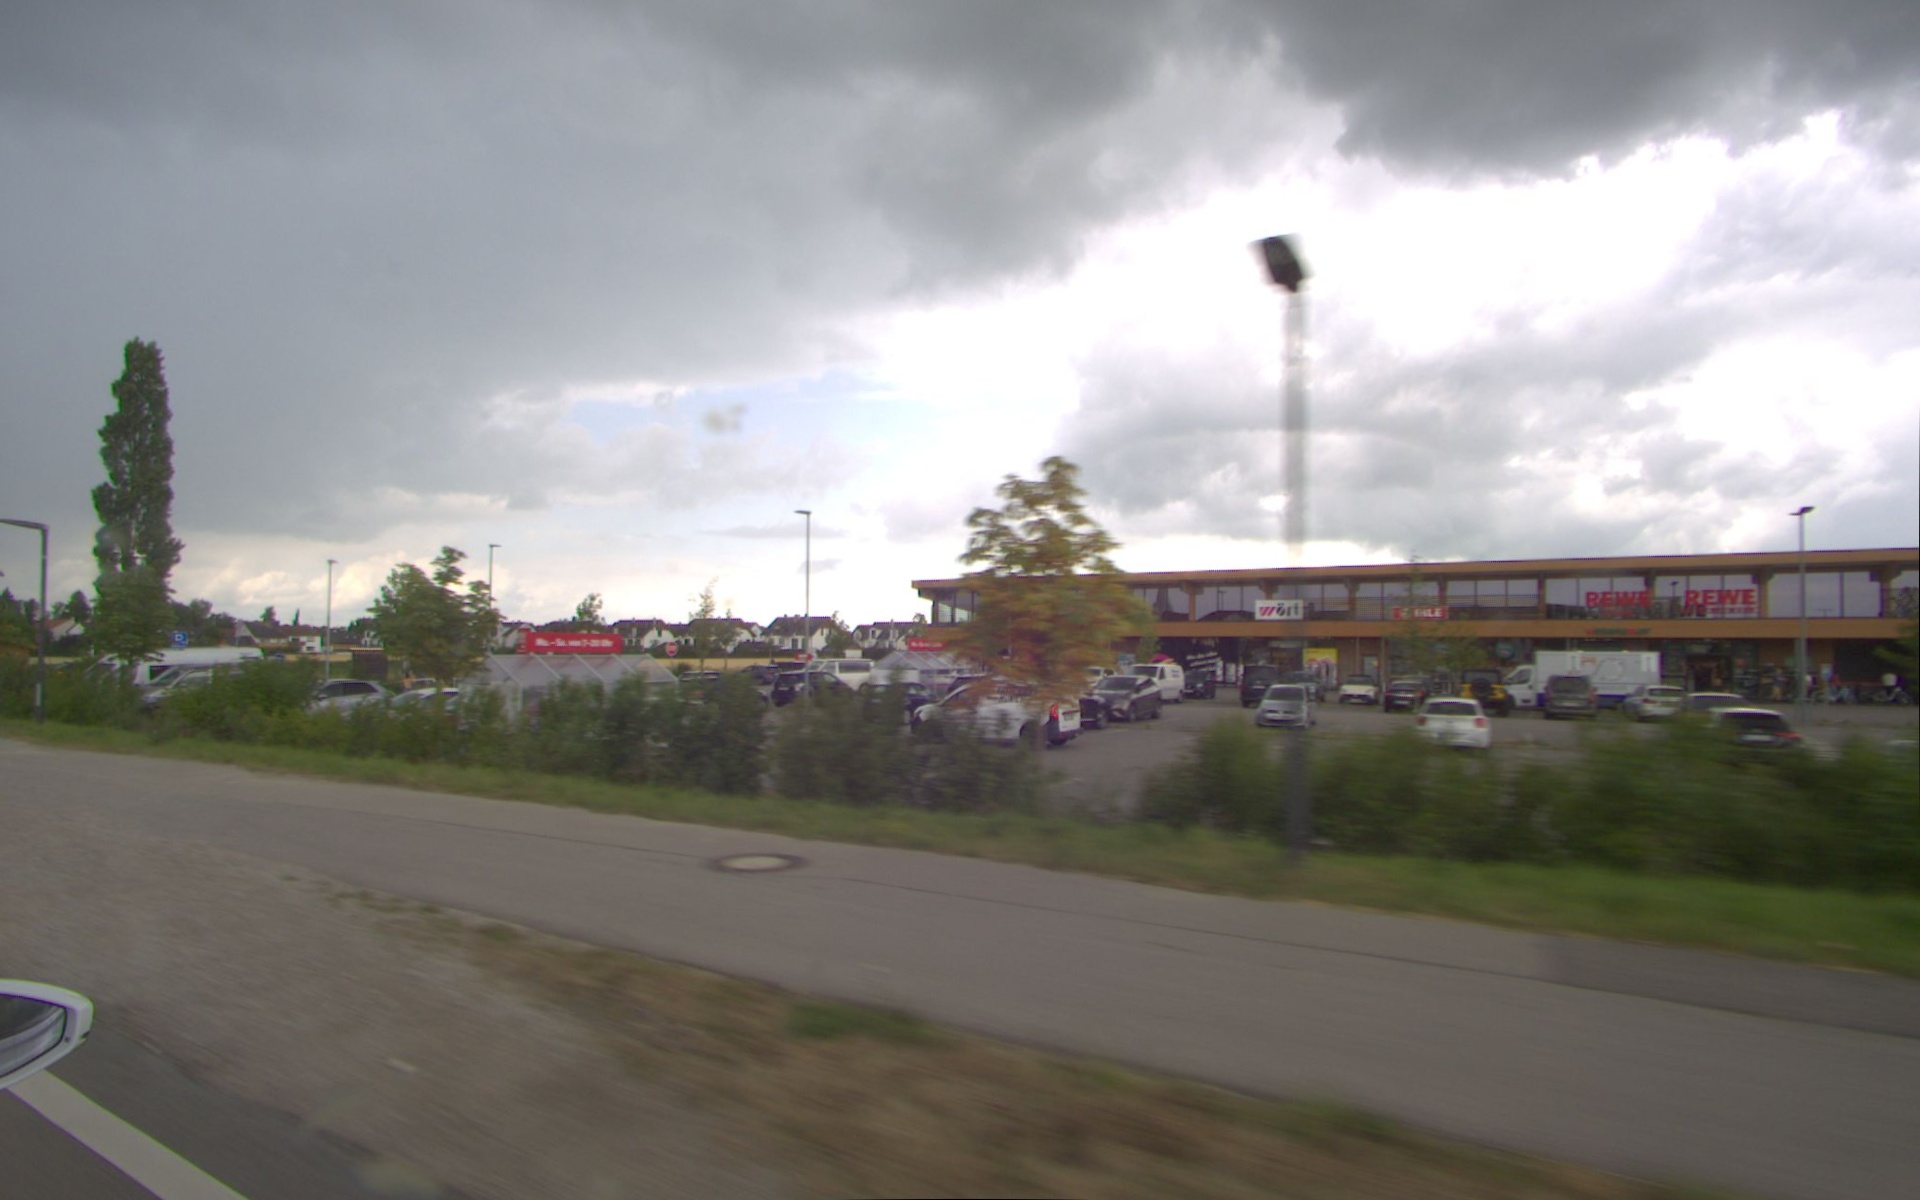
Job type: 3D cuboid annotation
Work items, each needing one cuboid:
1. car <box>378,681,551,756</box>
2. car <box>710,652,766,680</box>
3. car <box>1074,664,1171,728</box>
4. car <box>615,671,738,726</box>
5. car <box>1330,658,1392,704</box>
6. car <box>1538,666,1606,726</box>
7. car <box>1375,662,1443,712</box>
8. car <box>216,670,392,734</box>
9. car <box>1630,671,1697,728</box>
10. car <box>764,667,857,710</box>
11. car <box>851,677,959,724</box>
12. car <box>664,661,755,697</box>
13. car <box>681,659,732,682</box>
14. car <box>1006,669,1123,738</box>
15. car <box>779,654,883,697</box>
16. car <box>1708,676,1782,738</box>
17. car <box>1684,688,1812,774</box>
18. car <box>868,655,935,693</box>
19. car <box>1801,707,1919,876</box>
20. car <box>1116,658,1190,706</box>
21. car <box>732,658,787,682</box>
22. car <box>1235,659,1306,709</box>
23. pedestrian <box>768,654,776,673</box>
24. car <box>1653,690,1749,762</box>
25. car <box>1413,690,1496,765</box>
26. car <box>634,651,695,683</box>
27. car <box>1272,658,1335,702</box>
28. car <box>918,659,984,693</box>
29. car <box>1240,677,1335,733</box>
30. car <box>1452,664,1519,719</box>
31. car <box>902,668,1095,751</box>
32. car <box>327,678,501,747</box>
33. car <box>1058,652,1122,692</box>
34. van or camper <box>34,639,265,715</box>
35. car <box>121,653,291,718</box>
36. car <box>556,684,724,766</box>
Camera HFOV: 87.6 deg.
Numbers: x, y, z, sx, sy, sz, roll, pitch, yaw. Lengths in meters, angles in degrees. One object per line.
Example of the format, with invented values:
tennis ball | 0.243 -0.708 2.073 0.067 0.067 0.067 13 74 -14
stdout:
car | -12.788 3.005 26.052 1.651 1.558 3.752 -1 -1 30
car | -17.044 5.017 76.740 3.942 2.040 1.990 -1 -1 32
car | 6.044 3.473 36.993 1.974 2.040 3.975 -1 -1 36
car | -10.299 3.540 36.626 1.974 1.639 3.975 -1 -1 36
car | 20.232 4.039 50.441 1.974 2.040 3.975 -1 -1 36
car | 24.604 3.792 40.221 2.044 2.040 3.975 -1 -1 36
car | 19.705 3.809 43.893 1.974 2.038 3.978 -1 -4 36
car | -20.312 3.096 31.184 2.049 1.618 4.142 -1 -1 30
car | 27.560 3.835 39.208 2.044 1.872 3.975 -1 -1 36
car | -6.676 3.922 45.020 1.974 1.639 3.975 -1 -1 36
car | -1.903 3.527 35.596 1.971 1.460 3.984 -1 -3 31
car | -11.872 3.722 47.706 1.873 1.451 4.173 -1 -1 30
car | -18.667 5.167 73.754 3.527 1.527 1.742 -1 -1 32
car | 3.491 3.329 32.902 1.974 1.895 4.247 -1 -1 36
car | -6.831 3.963 53.219 5.165 2.040 1.987 0 -1 -34
car | 28.979 3.897 37.069 1.974 1.895 4.247 -1 -1 36
car | 17.657 2.876 22.609 1.775 1.726 3.380 -1 -5 30
car | -3.295 4.139 56.836 2.008 1.936 3.888 -1 -1 30
car | 13.003 2.516 13.676 1.633 1.728 3.982 -1 -1 30
car | 9.563 3.951 49.272 1.970 2.040 5.122 -1 -1 30
car | -14.025 4.857 70.098 3.527 1.527 1.742 -1 -1 32
car | 14.478 3.859 46.552 1.974 2.040 3.975 -1 -1 36
pedestrian | -18.060 6.123 96.168 0.591 1.784 0.481 -1 0 31
car | 20.289 3.371 27.503 1.974 1.504 4.106 -1 -1 36
car | 12.934 3.250 26.096 1.727 1.552 3.544 -1 -1 30
car | -20.683 4.674 70.118 3.942 2.040 1.990 -1 -1 32
car | 17.778 4.088 51.764 1.974 2.040 4.097 -1 -1 36
car | -0.465 4.192 55.773 2.009 1.628 3.731 -1 -1 32
car | 11.396 3.565 34.711 1.974 1.572 4.106 -1 -1 36
car | 22.337 3.811 42.474 1.974 2.040 3.975 -1 -1 36
car | 1.029 2.919 27.433 4.867 1.931 2.101 -1 -1 29
car | -15.461 3.139 28.578 1.651 1.558 4.142 -1 -1 30
car | 7.527 4.104 57.758 1.974 2.040 3.975 -1 -1 36
van or camper | -30.351 2.774 37.825 2.247 2.496 6.460 -1 -1 29
car | -27.359 3.048 36.499 1.970 2.040 4.588 -1 -1 30
car | -7.636 2.931 24.198 1.651 1.558 3.752 -1 -1 30
